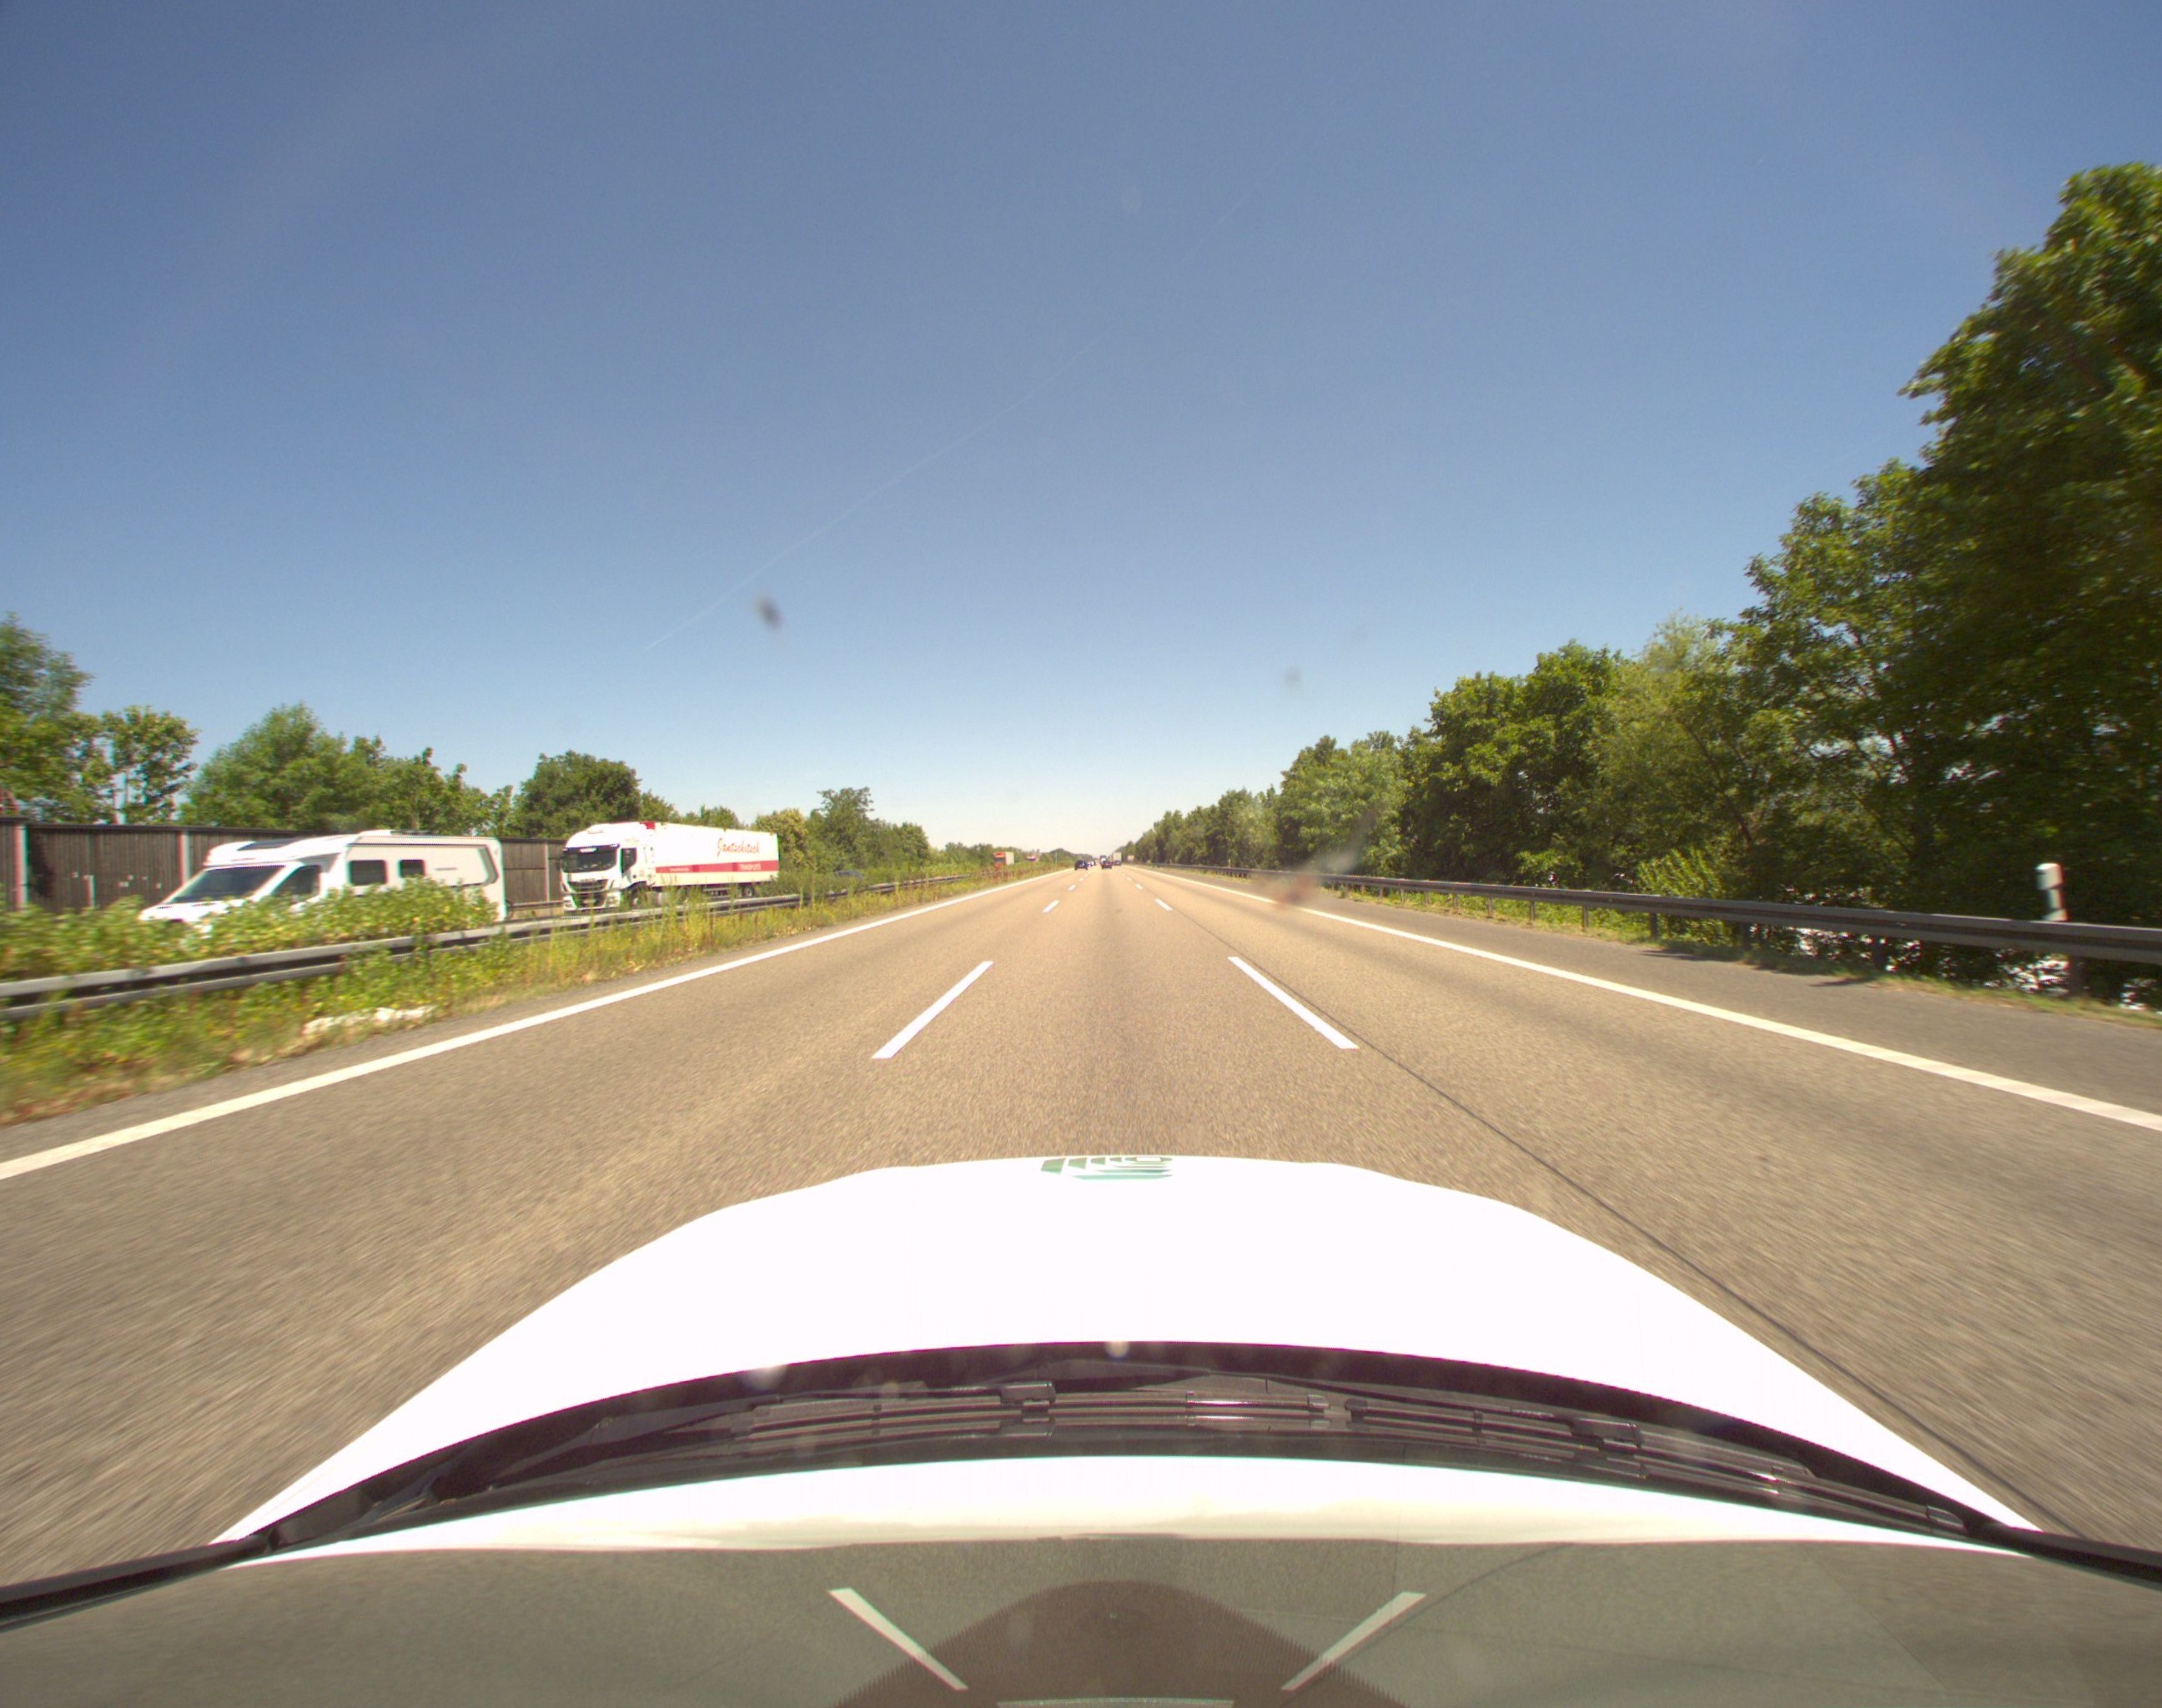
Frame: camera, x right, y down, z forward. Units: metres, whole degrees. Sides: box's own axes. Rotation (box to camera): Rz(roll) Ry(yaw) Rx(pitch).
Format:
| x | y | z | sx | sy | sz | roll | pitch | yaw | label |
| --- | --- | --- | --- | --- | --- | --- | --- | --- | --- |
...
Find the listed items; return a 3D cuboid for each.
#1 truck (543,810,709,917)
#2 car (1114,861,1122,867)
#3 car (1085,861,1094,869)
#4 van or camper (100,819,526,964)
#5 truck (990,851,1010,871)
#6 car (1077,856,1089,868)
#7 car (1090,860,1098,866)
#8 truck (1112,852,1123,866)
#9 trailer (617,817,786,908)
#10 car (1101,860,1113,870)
| x | y | z | sx | sy | sz | roll | pitch | yaw | label |
| --- | --- | --- | --- | --- | --- | --- | --- | --- | --- |
| -19.931 | 0.388 | 36.382 | 2.831 | 4.207 | 7.718 | -1 | 0 | 2 | truck |
| 9.895 | 2.725 | 217.797 | 2.120 | 1.584 | 4.306 | -2 | -1 | 2 | car |
| 1.995 | 2.631 | 192.503 | 2.120 | 1.645 | 4.306 | -2 | -1 | 2 | car |
| -16.540 | 0.708 | 18.549 | 2.456 | 2.576 | 7.414 | -1 | 0 | 2 | van or camper |
| -16.554 | 1.406 | 166.684 | 2.722 | 3.935 | 7.418 | -4 | -1 | 2 | truck |
| 0.311 | 1.245 | 125.933 | 1.874 | 1.792 | 4.000 | -1 | 1 | 0 | car |
| 3.951 | 2.711 | 249.436 | 2.120 | 1.645 | 4.306 | -2 | -1 | 2 | car |
| 11.199 | 1.503 | 249.698 | 3.372 | 3.970 | 9.541 | -2 | -1 | 2 | truck |
| -19.686 | 0.401 | 43.577 | 2.831 | 4.173 | 12.227 | -1 | 0 | 2 | trailer |
| 4.325 | 1.752 | 134.028 | 1.896 | 1.584 | 4.306 | -2 | -1 | 2 | car |
